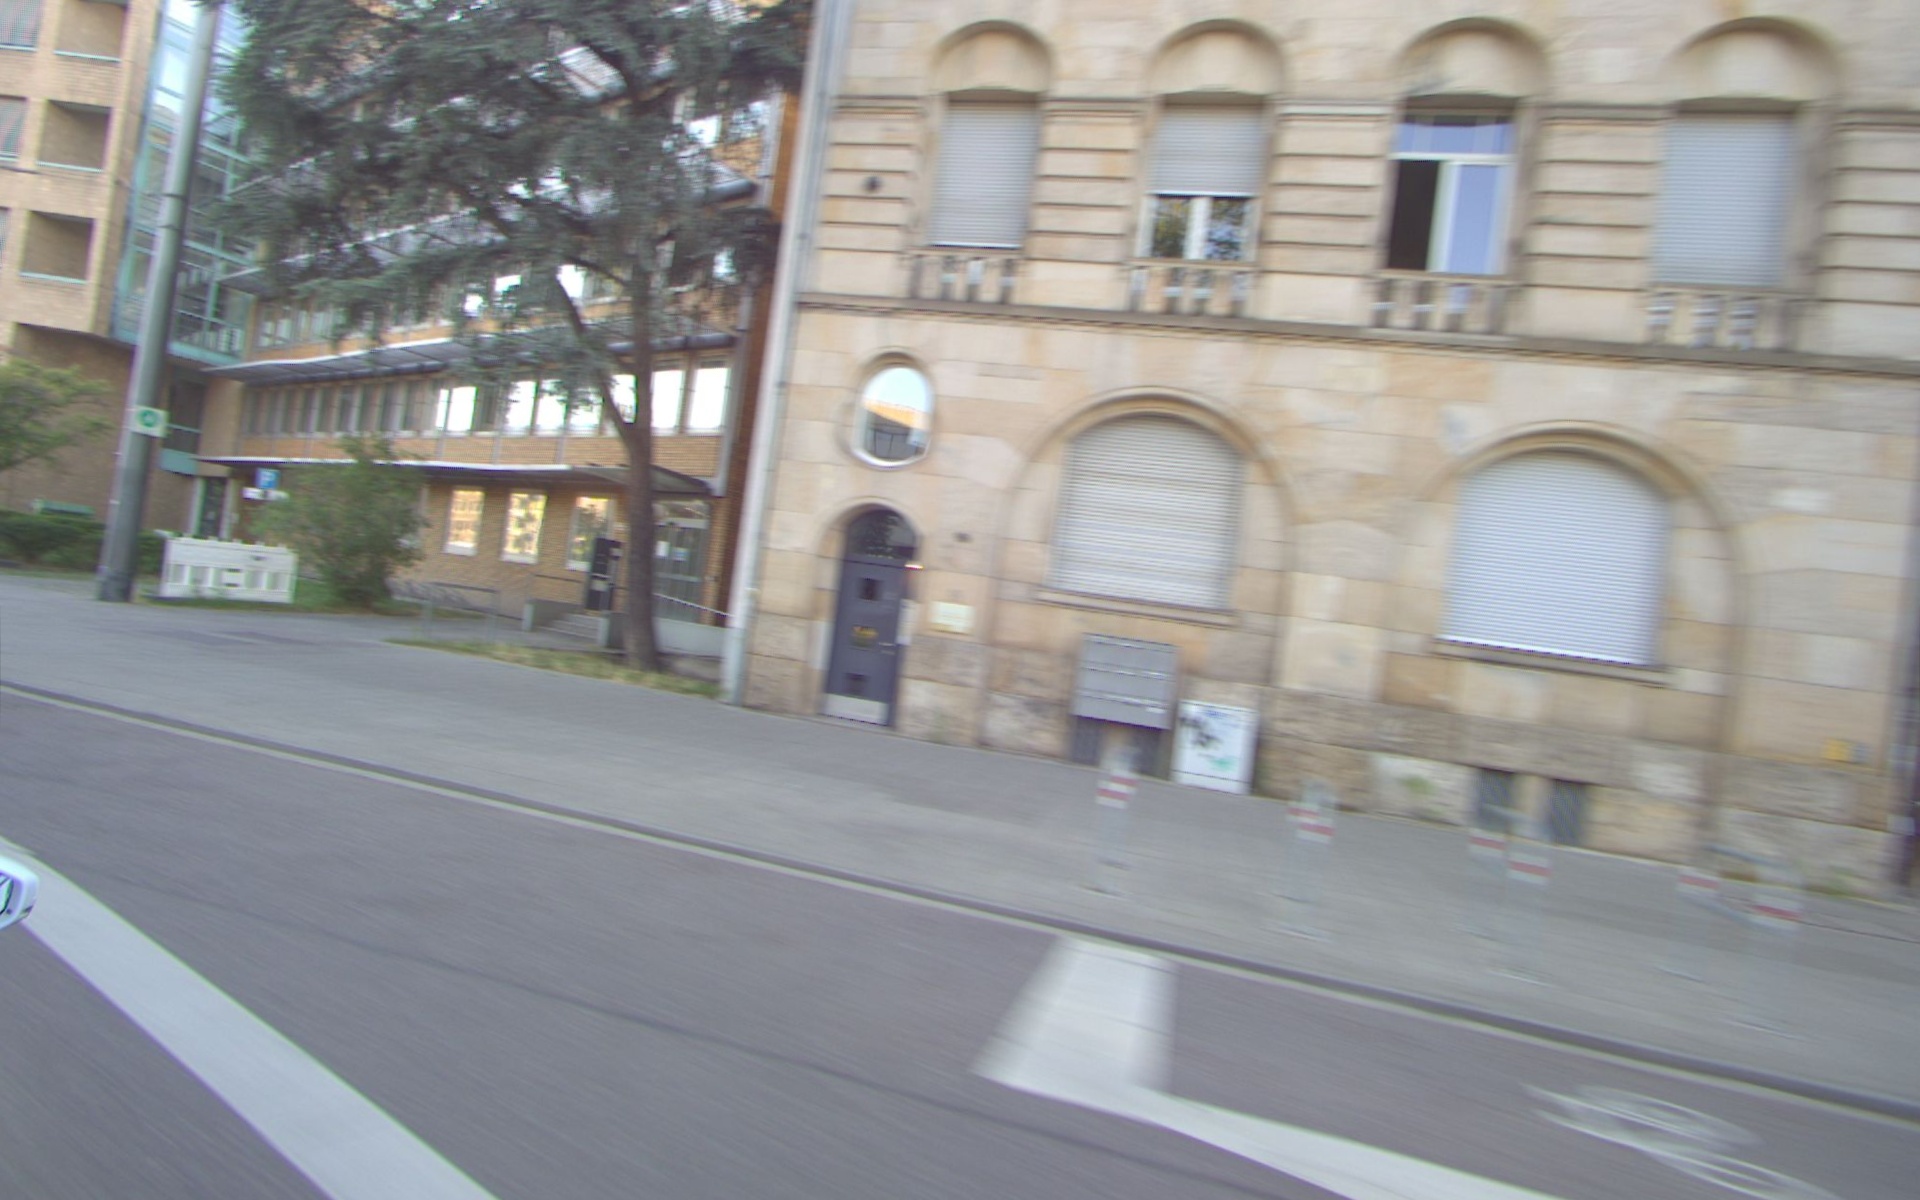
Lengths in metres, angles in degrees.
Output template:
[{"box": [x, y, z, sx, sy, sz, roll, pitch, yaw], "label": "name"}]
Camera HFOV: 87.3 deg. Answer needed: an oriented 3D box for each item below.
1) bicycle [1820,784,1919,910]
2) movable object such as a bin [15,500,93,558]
[{"box": [10.042, 2.642, 10.693, 0.421, 1.085, 1.858, 8, -1, 13], "label": "bicycle"}, {"box": [-26.853, -2.082, 29.828, 0.908, 1.441, 1.344, 8, -1, 28], "label": "movable object such as a bin"}]
